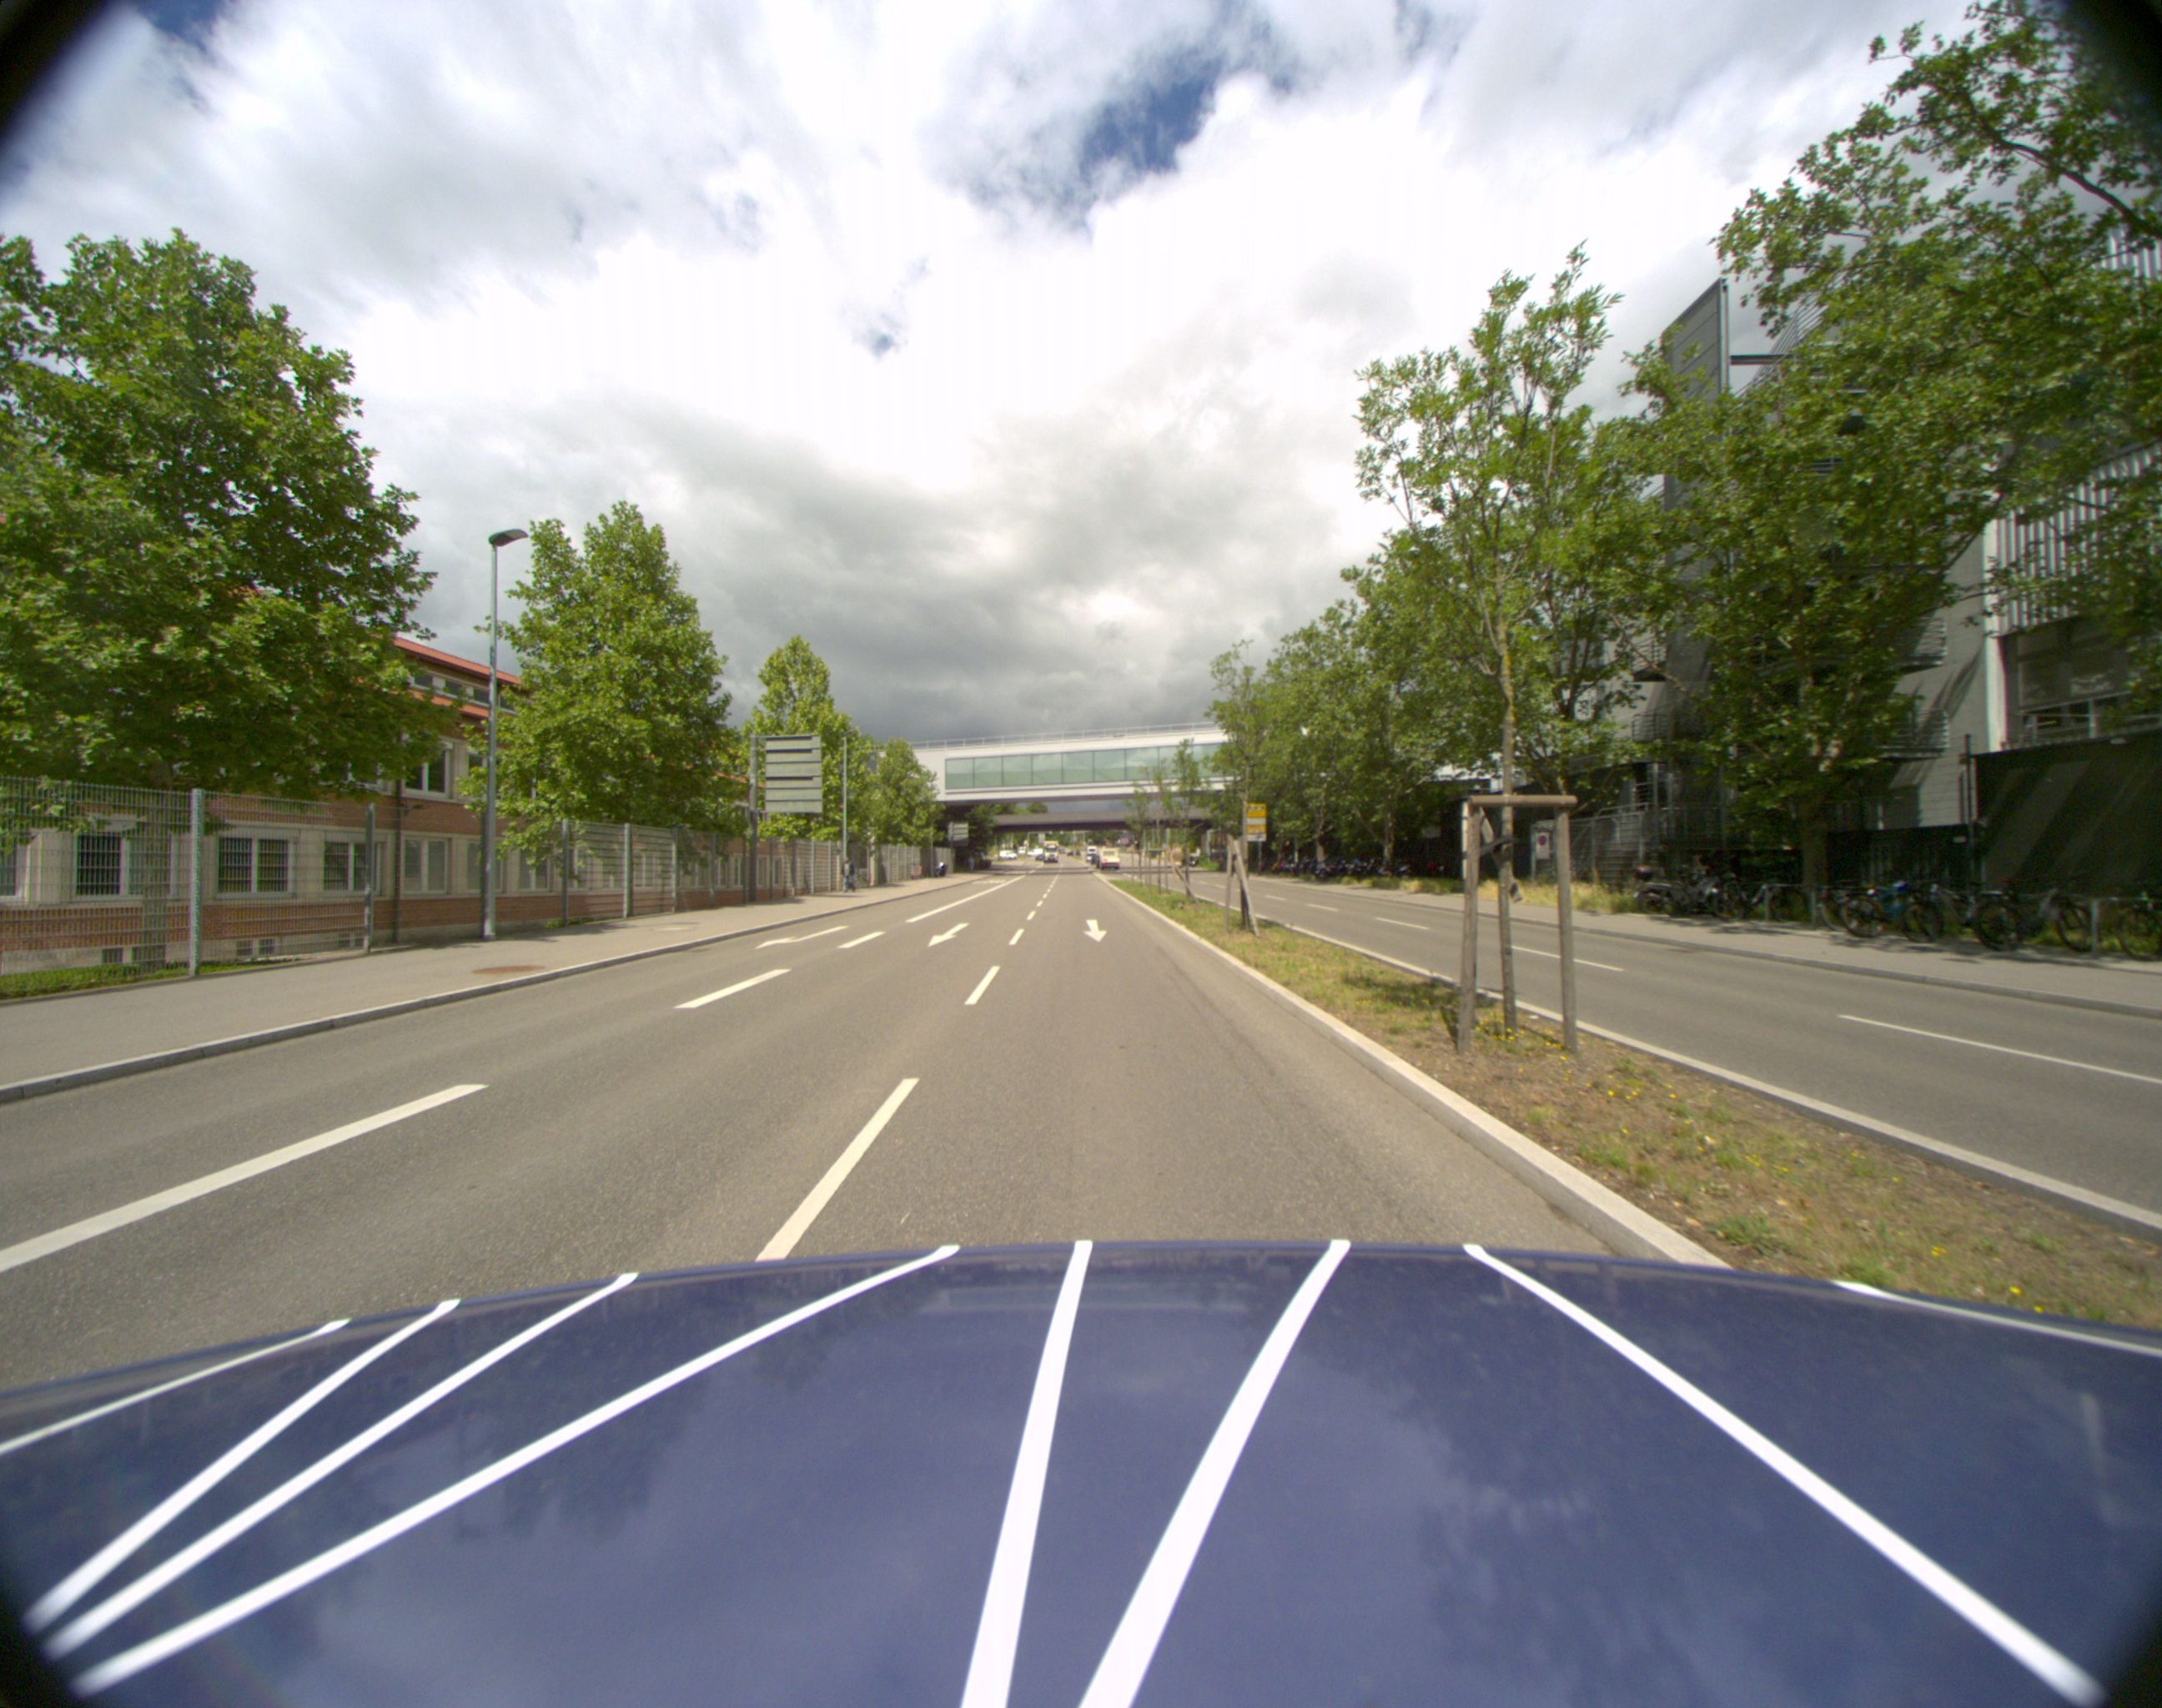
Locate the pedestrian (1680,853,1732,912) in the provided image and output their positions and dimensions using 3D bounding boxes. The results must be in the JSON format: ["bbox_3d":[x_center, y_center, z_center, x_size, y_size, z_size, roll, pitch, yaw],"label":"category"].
[{"bbox_3d":[16.945,0.759,20.622,0.755,1.543,0.821,-1,0,10],"label":"pedestrian"}]

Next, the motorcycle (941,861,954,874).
[{"bbox_3d":[-11.837,1.189,67.420,0.709,1.058,2.510,2,0,-1],"label":"motorcycle"}]

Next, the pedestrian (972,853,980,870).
[{"bbox_3d":[-11.222,0.790,81.216,0.791,1.877,1.097,0,1,-1],"label":"pedestrian"}]

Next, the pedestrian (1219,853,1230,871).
[{"bbox_3d":[13.205,0.710,69.878,0.769,1.603,0.813,-3,1,-1],"label":"pedestrian"}]

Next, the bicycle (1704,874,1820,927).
[{"bbox_3d":[14.631,0.989,16.335,2.086,1.056,0.497,-1,0,-2],"label":"bicycle"}]

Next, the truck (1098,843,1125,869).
[{"bbox_3d":[3.480,0.222,86.901,2.486,2.735,6.456,-1,0,-3],"label":"truck"}]

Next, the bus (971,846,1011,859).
[{"bbox_3d":[-22.773,-0.482,191.736,9.789,2.919,2.649,-2,1,-12],"label":"bus"}]

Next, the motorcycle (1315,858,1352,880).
[{"bbox_3d":[14.763,0.887,44.462,1.881,1.172,0.815,-3,-1,9],"label":"motorcycle"}]

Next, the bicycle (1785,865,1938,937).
[{"bbox_3d":[14.843,0.872,14.486,2.139,1.275,0.806,-1,0,-2],"label":"bicycle"}]

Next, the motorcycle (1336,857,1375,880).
[{"bbox_3d":[15.578,0.829,43.126,1.882,1.172,0.698,-3,-1,3],"label":"motorcycle"}]

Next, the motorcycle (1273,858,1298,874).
[{"bbox_3d":[15.183,0.918,56.311,1.595,1.116,0.776,-3,-1,1],"label":"motorcycle"}]

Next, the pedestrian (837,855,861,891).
[{"bbox_3d":[-11.555,0.939,37.845,0.879,1.733,0.940,1,1,-1],"label":"pedestrian"}]

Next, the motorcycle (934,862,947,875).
[{"bbox_3d":[-11.894,1.198,64.290,0.670,1.058,2.246,2,0,-1],"label":"motorcycle"}]

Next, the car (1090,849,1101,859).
[{"bbox_3d":[2.595,-0.078,137.511,1.813,1.770,4.977,-1,0,-1],"label":"car"}]

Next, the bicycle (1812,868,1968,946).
[{"bbox_3d":[14.278,0.909,13.447,1.923,1.275,0.806,-1,0,-2],"label":"bicycle"}]

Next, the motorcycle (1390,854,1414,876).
[{"bbox_3d":[18.506,0.646,43.837,0.654,1.202,1.984,-3,-1,4],"label":"motorcycle"}]

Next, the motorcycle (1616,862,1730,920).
[{"bbox_3d":[14.193,0.865,18.253,2.139,1.301,0.806,-1,0,-2],"label":"motorcycle"}]

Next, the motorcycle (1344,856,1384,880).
[{"bbox_3d":[15.624,0.792,42.006,1.882,1.202,0.655,-3,-1,3],"label":"motorcycle"}]

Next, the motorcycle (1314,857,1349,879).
[{"bbox_3d":[15.069,0.845,45.808,1.880,1.172,0.816,-3,-1,15],"label":"motorcycle"}]

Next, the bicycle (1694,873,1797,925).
[{"bbox_3d":[14.683,0.987,16.805,1.929,1.068,0.422,-1,0,-2],"label":"bicycle"}]

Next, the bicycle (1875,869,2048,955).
[{"bbox_3d":[14.289,0.919,12.367,1.923,1.275,0.806,-1,1,-2],"label":"bicycle"}]

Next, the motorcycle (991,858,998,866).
[{"bbox_3d":[-11.910,1.042,104.649,0.679,1.076,2.180,0,0,-2],"label":"motorcycle"}]

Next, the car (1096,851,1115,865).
[{"bbox_3d":[3.083,0.506,97.238,1.910,1.621,4.291,-1,0,-4],"label":"car"}]

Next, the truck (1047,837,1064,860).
[{"bbox_3d":[-4.514,-0.982,138.410,2.787,3.981,10.085,-1,0,-1],"label":"truck"}]

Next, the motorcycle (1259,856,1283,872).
[{"bbox_3d":[14.946,0.798,59.803,1.745,1.164,0.777,-3,-1,8],"label":"motorcycle"}]

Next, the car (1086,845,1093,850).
[{"bbox_3d":[2.245,-1.707,203.478,1.998,1.346,4.000,0,0,1],"label":"car"}]

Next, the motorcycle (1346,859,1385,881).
[{"bbox_3d":[15.385,0.846,41.095,1.880,1.078,0.795,-3,-1,15],"label":"motorcycle"}]

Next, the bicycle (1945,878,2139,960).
[{"bbox_3d":[14.340,0.949,11.374,1.923,1.116,0.806,-1,0,-2],"label":"bicycle"}]

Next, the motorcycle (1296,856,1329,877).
[{"bbox_3d":[15.129,0.806,49.660,1.934,1.283,0.894,-3,-1,20],"label":"motorcycle"}]

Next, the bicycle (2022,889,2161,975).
[{"bbox_3d":[14.710,1.039,10.484,2.844,1.000,0.850,-2,0,-9],"label":"bicycle"}]

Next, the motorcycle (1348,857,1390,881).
[{"bbox_3d":[15.029,0.786,39.737,1.881,1.179,0.730,-3,0,8],"label":"motorcycle"}]

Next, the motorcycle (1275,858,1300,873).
[{"bbox_3d":[14.900,0.816,54.886,1.595,1.027,0.776,-3,-1,1],"label":"motorcycle"}]

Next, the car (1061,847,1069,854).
[{"bbox_3d":[-4.534,-0.980,213.509,1.999,2.002,4.000,-1,0,-1],"label":"car"}]

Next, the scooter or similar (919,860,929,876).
[{"bbox_3d":[-12.288,1.086,59.412,0.492,1.287,1.336,0,0,-1],"label":"scooter or similar"}]

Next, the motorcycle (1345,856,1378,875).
[{"bbox_3d":[18.752,0.773,50.767,1.933,1.109,0.923,-4,-1,27],"label":"motorcycle"}]

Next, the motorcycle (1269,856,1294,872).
[{"bbox_3d":[15.159,0.789,57.565,1.596,1.116,0.775,-3,-1,-9],"label":"motorcycle"}]

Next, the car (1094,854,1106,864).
[{"bbox_3d":[2.924,0.735,118.107,1.713,1.445,4.479,-1,0,0],"label":"car"}]

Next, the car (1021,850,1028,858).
[{"bbox_3d":[-15.705,-0.079,211.414,1.999,2.267,3.998,-1,0,-6],"label":"car"}]

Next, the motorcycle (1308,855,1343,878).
[{"bbox_3d":[15.182,0.797,47.173,1.934,1.336,0.866,-3,-1,20],"label":"motorcycle"}]

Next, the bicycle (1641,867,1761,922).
[{"bbox_3d":[14.283,0.925,17.547,2.139,1.173,0.806,-1,0,-2],"label":"bicycle"}]

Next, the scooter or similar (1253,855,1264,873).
[{"bbox_3d":[13.118,0.728,56.189,0.355,1.229,1.479,-2,1,-1],"label":"scooter or similar"}]

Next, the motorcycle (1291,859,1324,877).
[{"bbox_3d":[15.185,0.917,51.037,1.933,1.109,0.923,-4,-1,27],"label":"motorcycle"}]

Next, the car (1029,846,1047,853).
[{"bbox_3d":[-10.727,-1.138,191.022,4.250,1.796,1.829,-2,1,5],"label":"car"}]

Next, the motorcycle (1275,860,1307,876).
[{"bbox_3d":[14.561,0.969,52.681,1.939,1.109,0.920,1,1,-12],"label":"motorcycle"}]

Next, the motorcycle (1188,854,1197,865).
[{"bbox_3d":[12.745,0.615,86.834,0.641,1.191,2.257,-3,1,-1],"label":"motorcycle"}]

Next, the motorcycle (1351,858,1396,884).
[{"bbox_3d":[14.533,0.837,37.794,1.881,1.166,0.746,-3,-1,9],"label":"motorcycle"}]

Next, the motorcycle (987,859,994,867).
[{"bbox_3d":[-12.193,1.169,102.144,0.679,1.076,2.038,0,0,-2],"label":"motorcycle"}]

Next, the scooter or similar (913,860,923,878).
[{"bbox_3d":[-12.263,1.124,57.092,0.492,1.287,1.336,0,0,-1],"label":"scooter or similar"}]
